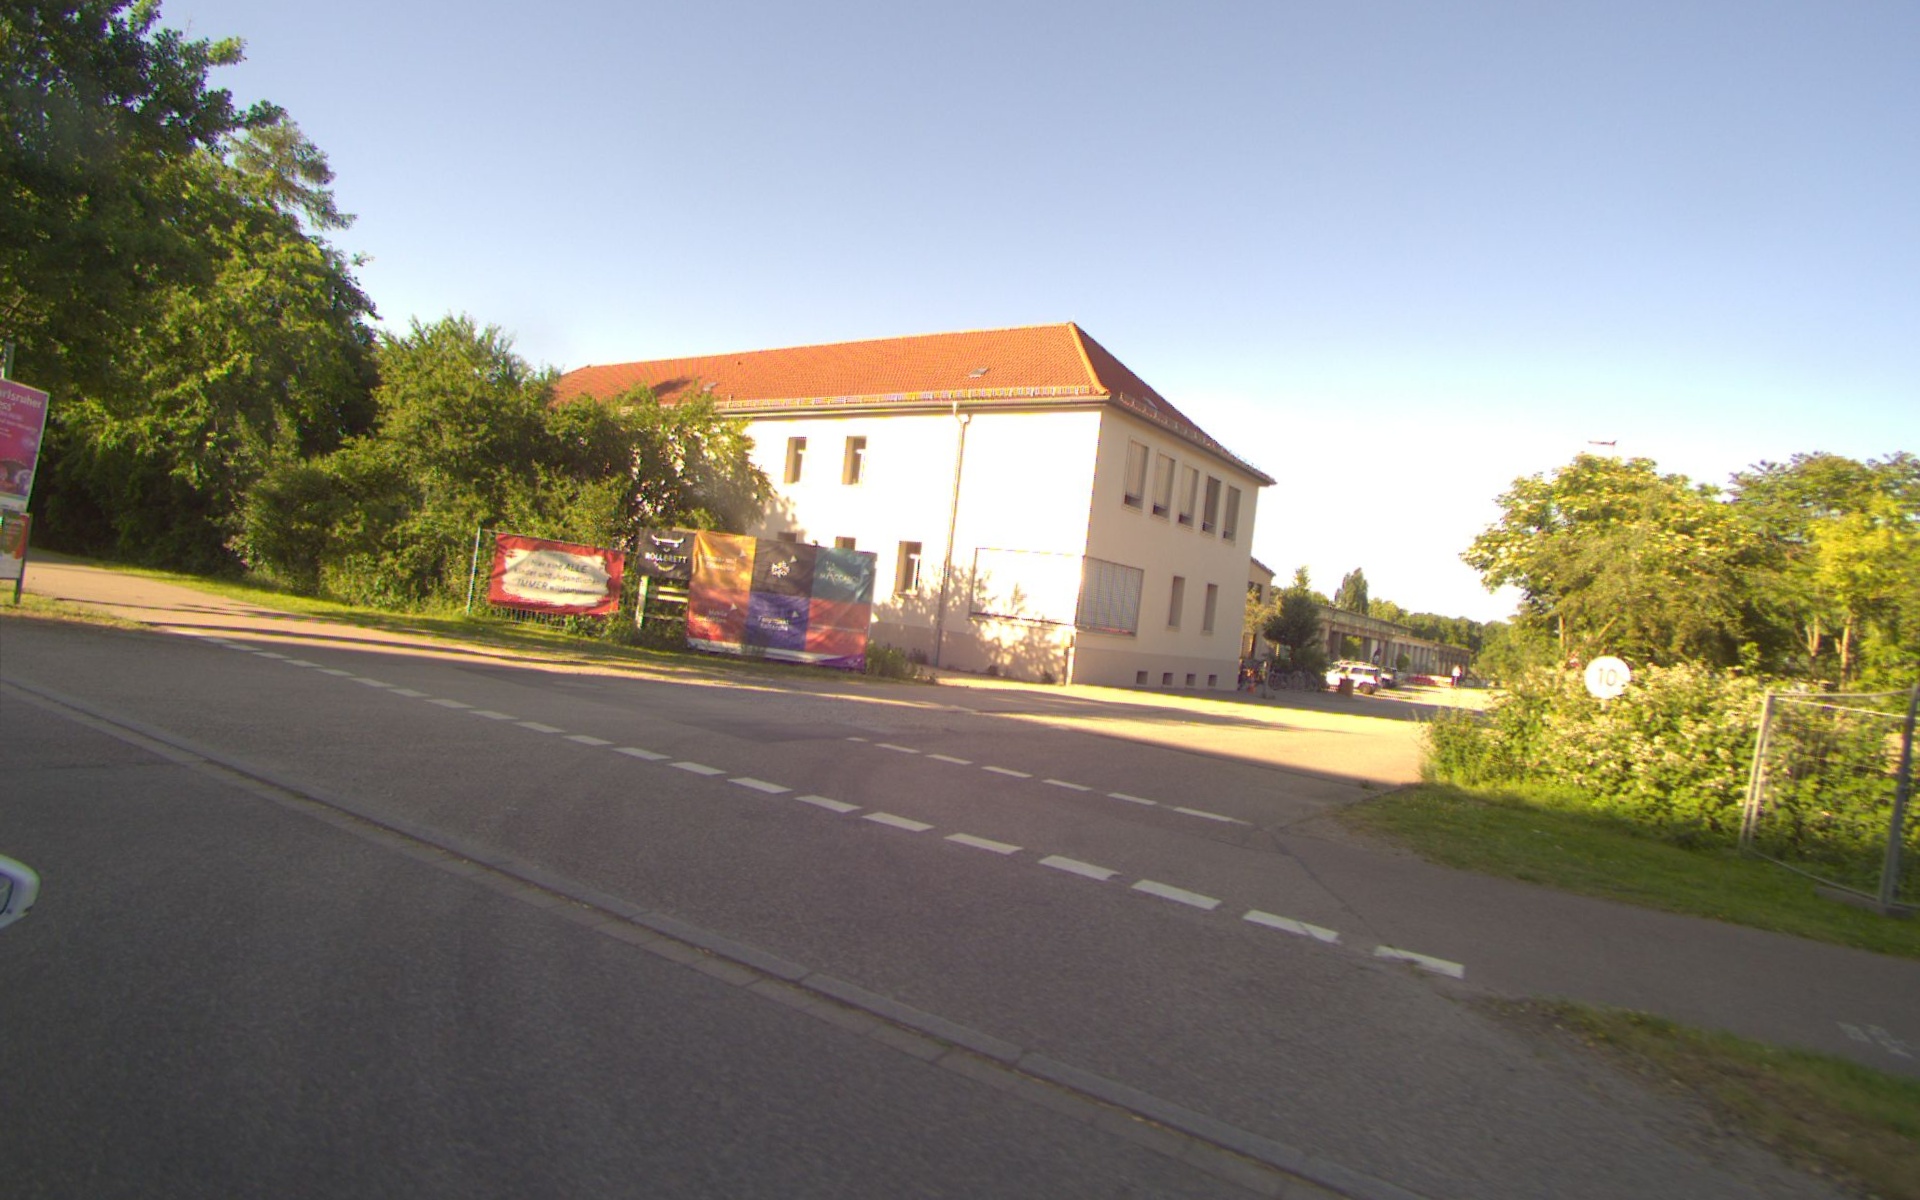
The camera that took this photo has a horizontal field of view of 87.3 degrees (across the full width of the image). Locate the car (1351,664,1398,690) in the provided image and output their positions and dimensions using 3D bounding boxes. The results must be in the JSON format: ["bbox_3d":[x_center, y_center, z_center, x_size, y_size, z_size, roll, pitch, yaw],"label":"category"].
[{"bbox_3d":[30.990,5.745,75.218,2.952,1.516,1.367,7,0,32],"label":"car"}]

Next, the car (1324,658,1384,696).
[{"bbox_3d":[23.278,4.570,59.499,2.952,1.814,1.367,7,0,32],"label":"car"}]
